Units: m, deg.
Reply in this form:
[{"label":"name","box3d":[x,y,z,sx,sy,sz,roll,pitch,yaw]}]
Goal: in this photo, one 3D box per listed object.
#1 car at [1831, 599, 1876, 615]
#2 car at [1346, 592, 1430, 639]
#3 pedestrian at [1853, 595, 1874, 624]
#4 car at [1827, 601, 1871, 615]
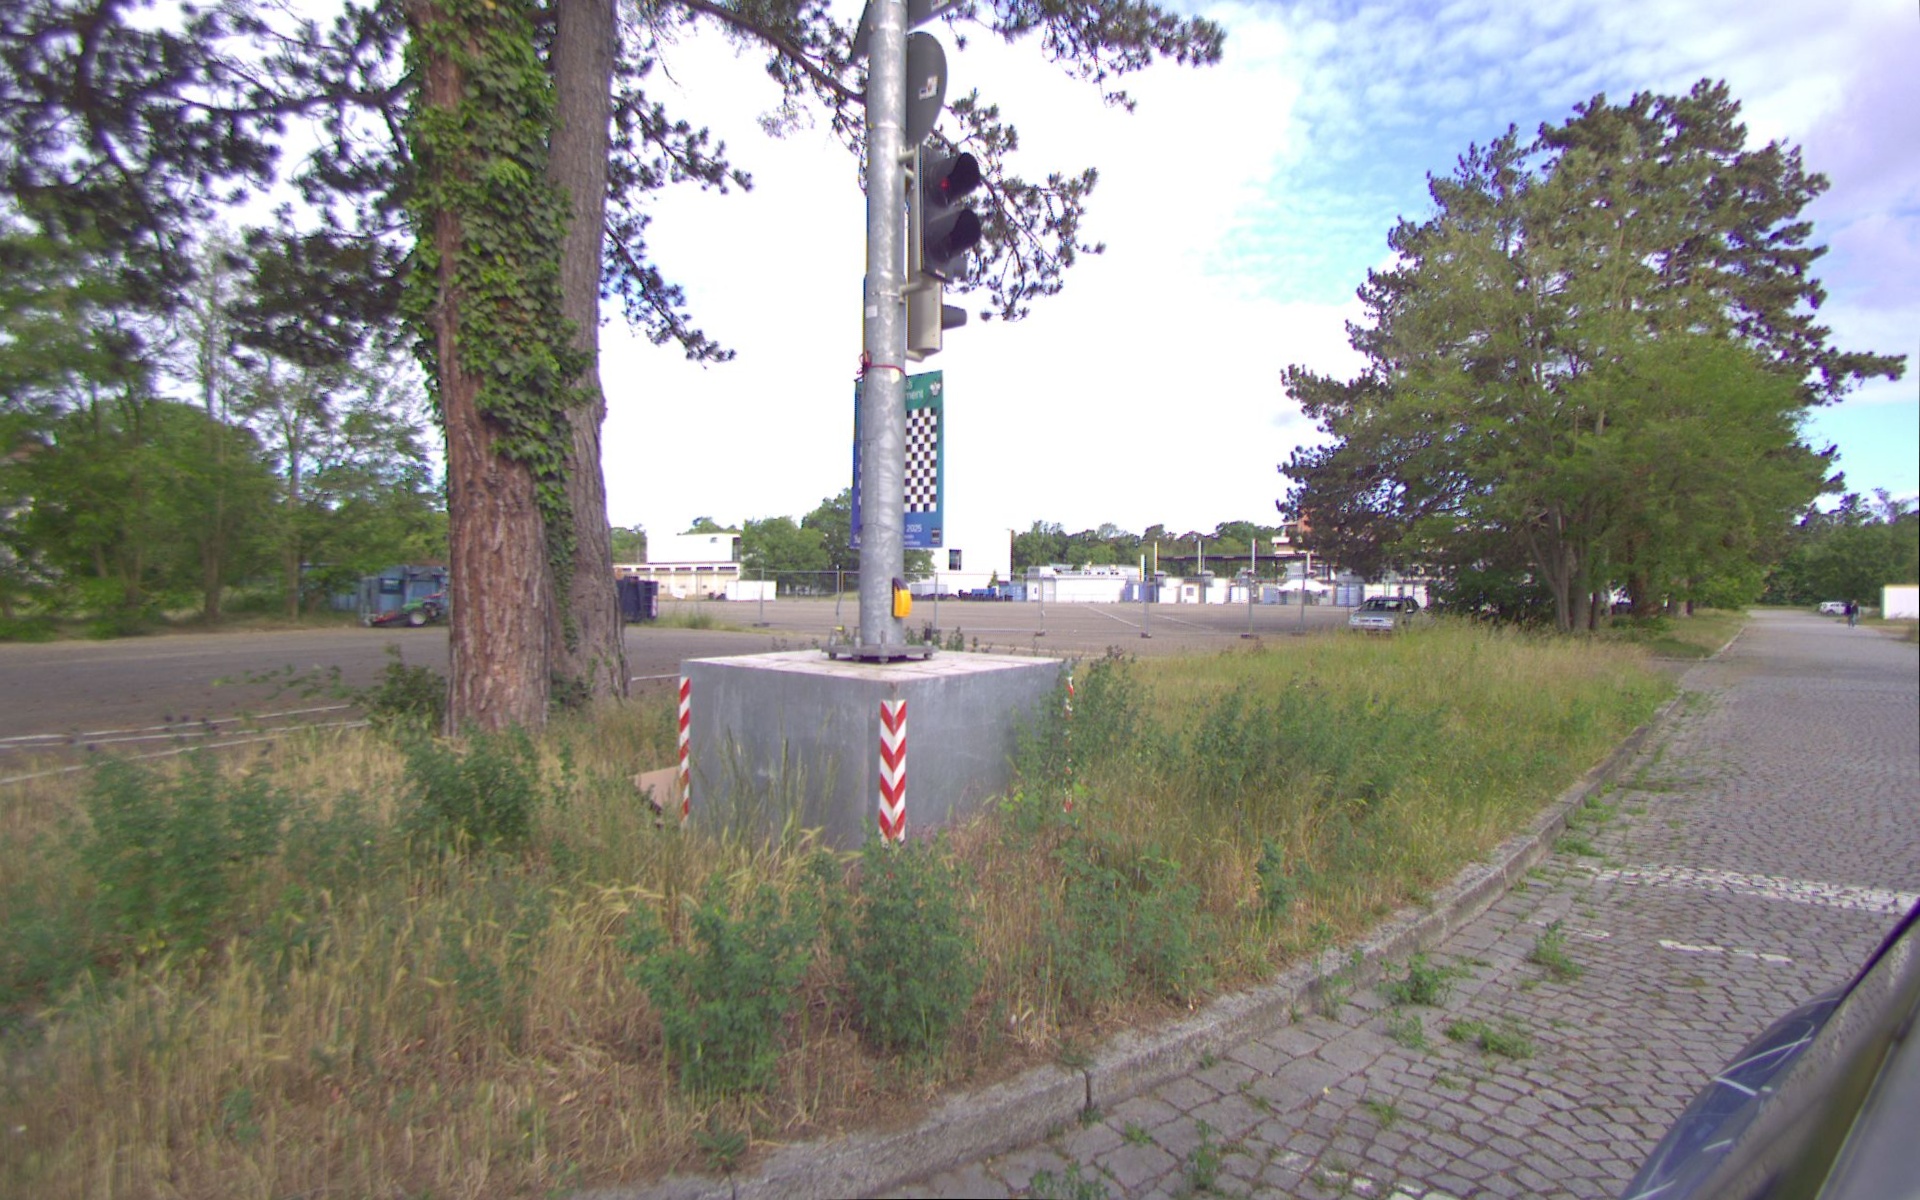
[{"label":"car","box3d":[108.241,0.857,122.610,4.066,1.862,1.758,1,1,42]},{"label":"car","box3d":[14.728,0.473,34.720,1.852,1.492,4.099,1,1,35]},{"label":"pedestrian","box3d":[53.933,0.558,60.387,0.990,1.745,0.873,0,0,-45]},{"label":"car","box3d":[109.385,0.993,124.570,4.066,1.594,1.759,1,1,42]}]
